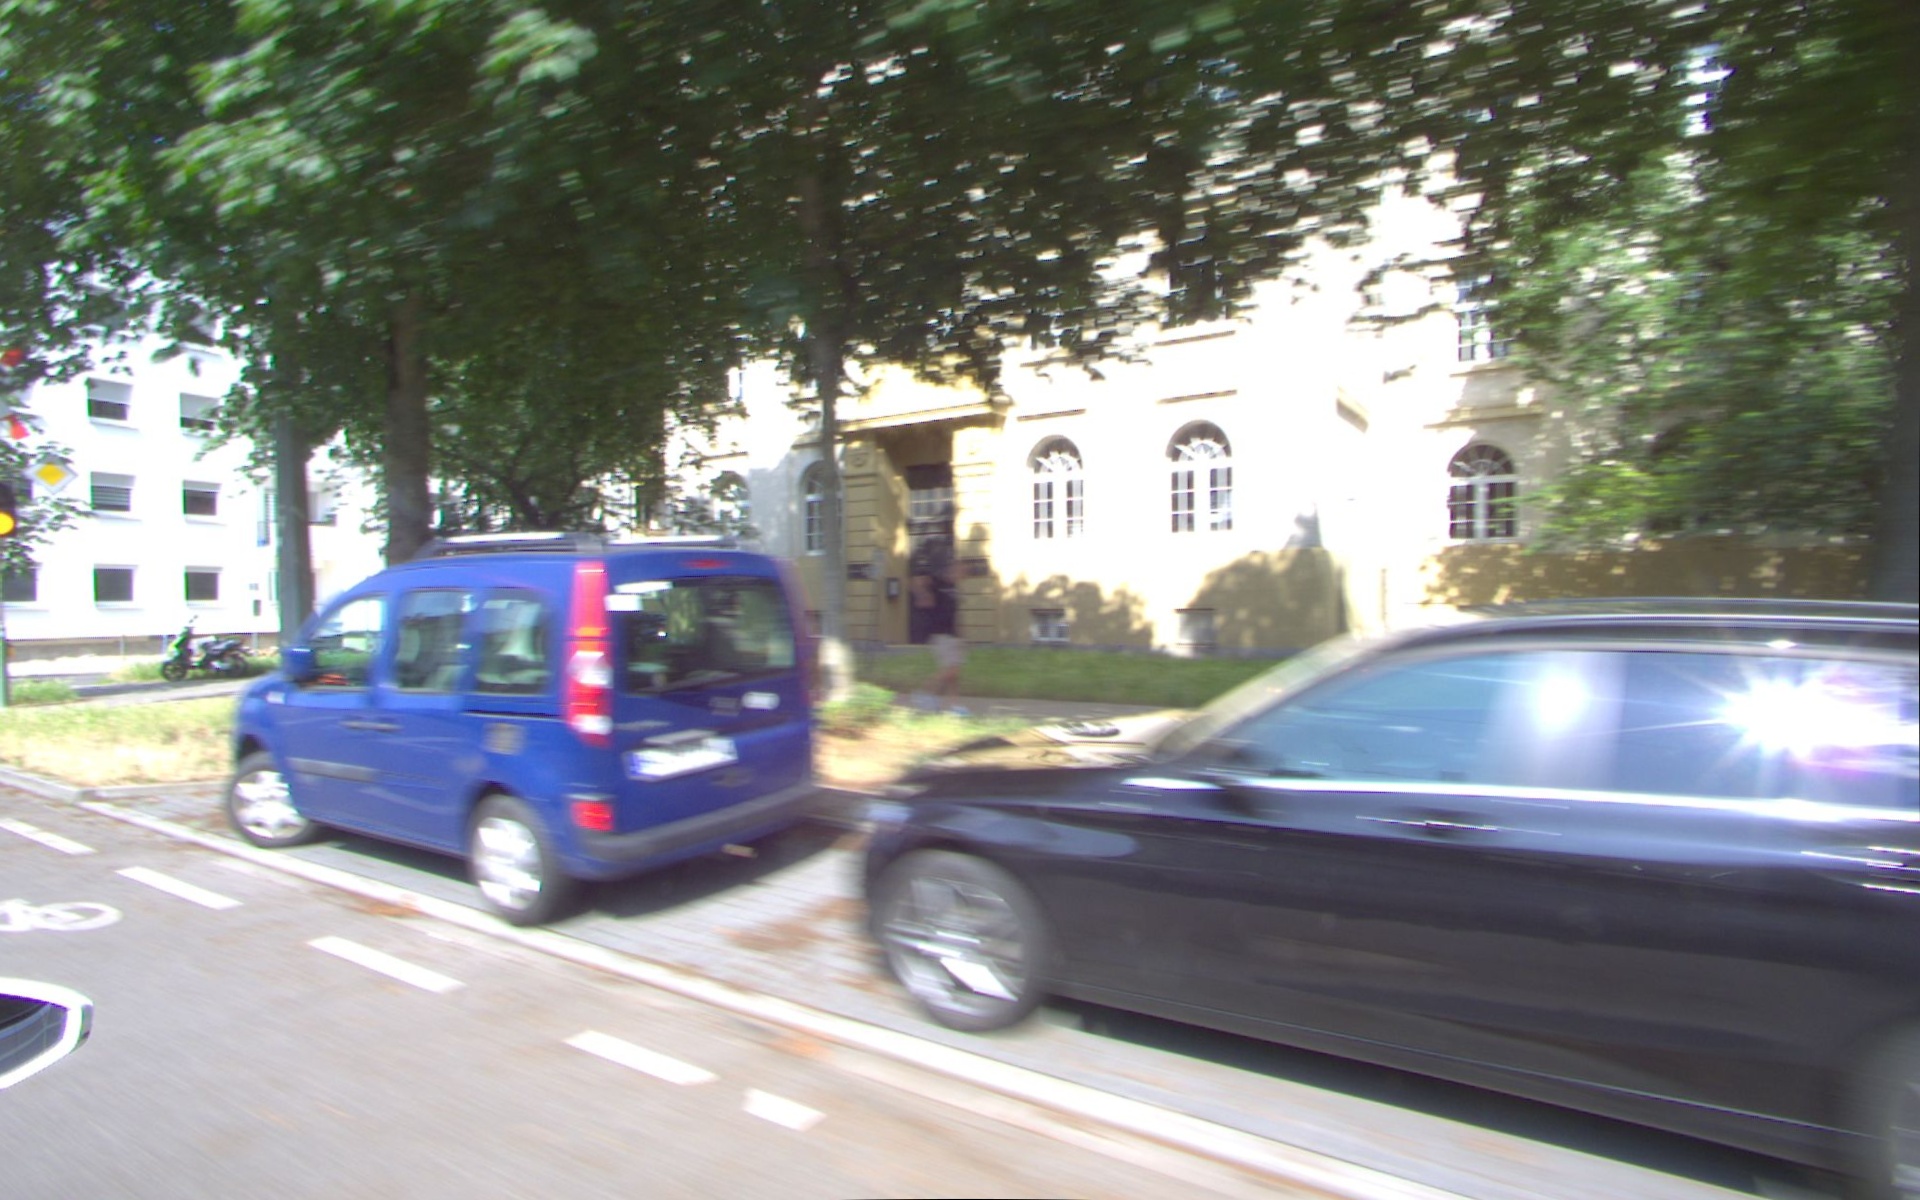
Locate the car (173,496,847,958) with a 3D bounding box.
[{"bbox_3d":[-2.854,0.500,6.068,4.126,1.922,1.817,0,2,35],"label":"car"}]

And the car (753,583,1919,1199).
[{"bbox_3d":[1.724,0.715,3.426,4.727,1.462,1.912,0,3,32],"label":"car"}]

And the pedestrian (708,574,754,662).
[{"bbox_3d":[-4.291,0.329,18.778,0.532,1.617,0.630,0,1,30],"label":"pedestrian"}]

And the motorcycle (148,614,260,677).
[{"bbox_3d":[-16.032,0.959,21.263,1.811,1.233,0.571,-2,5,-1],"label":"motorcycle"}]

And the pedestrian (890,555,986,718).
[{"bbox_3d":[-0.239,0.381,11.043,0.757,1.719,0.741,1,2,39],"label":"pedestrian"}]
